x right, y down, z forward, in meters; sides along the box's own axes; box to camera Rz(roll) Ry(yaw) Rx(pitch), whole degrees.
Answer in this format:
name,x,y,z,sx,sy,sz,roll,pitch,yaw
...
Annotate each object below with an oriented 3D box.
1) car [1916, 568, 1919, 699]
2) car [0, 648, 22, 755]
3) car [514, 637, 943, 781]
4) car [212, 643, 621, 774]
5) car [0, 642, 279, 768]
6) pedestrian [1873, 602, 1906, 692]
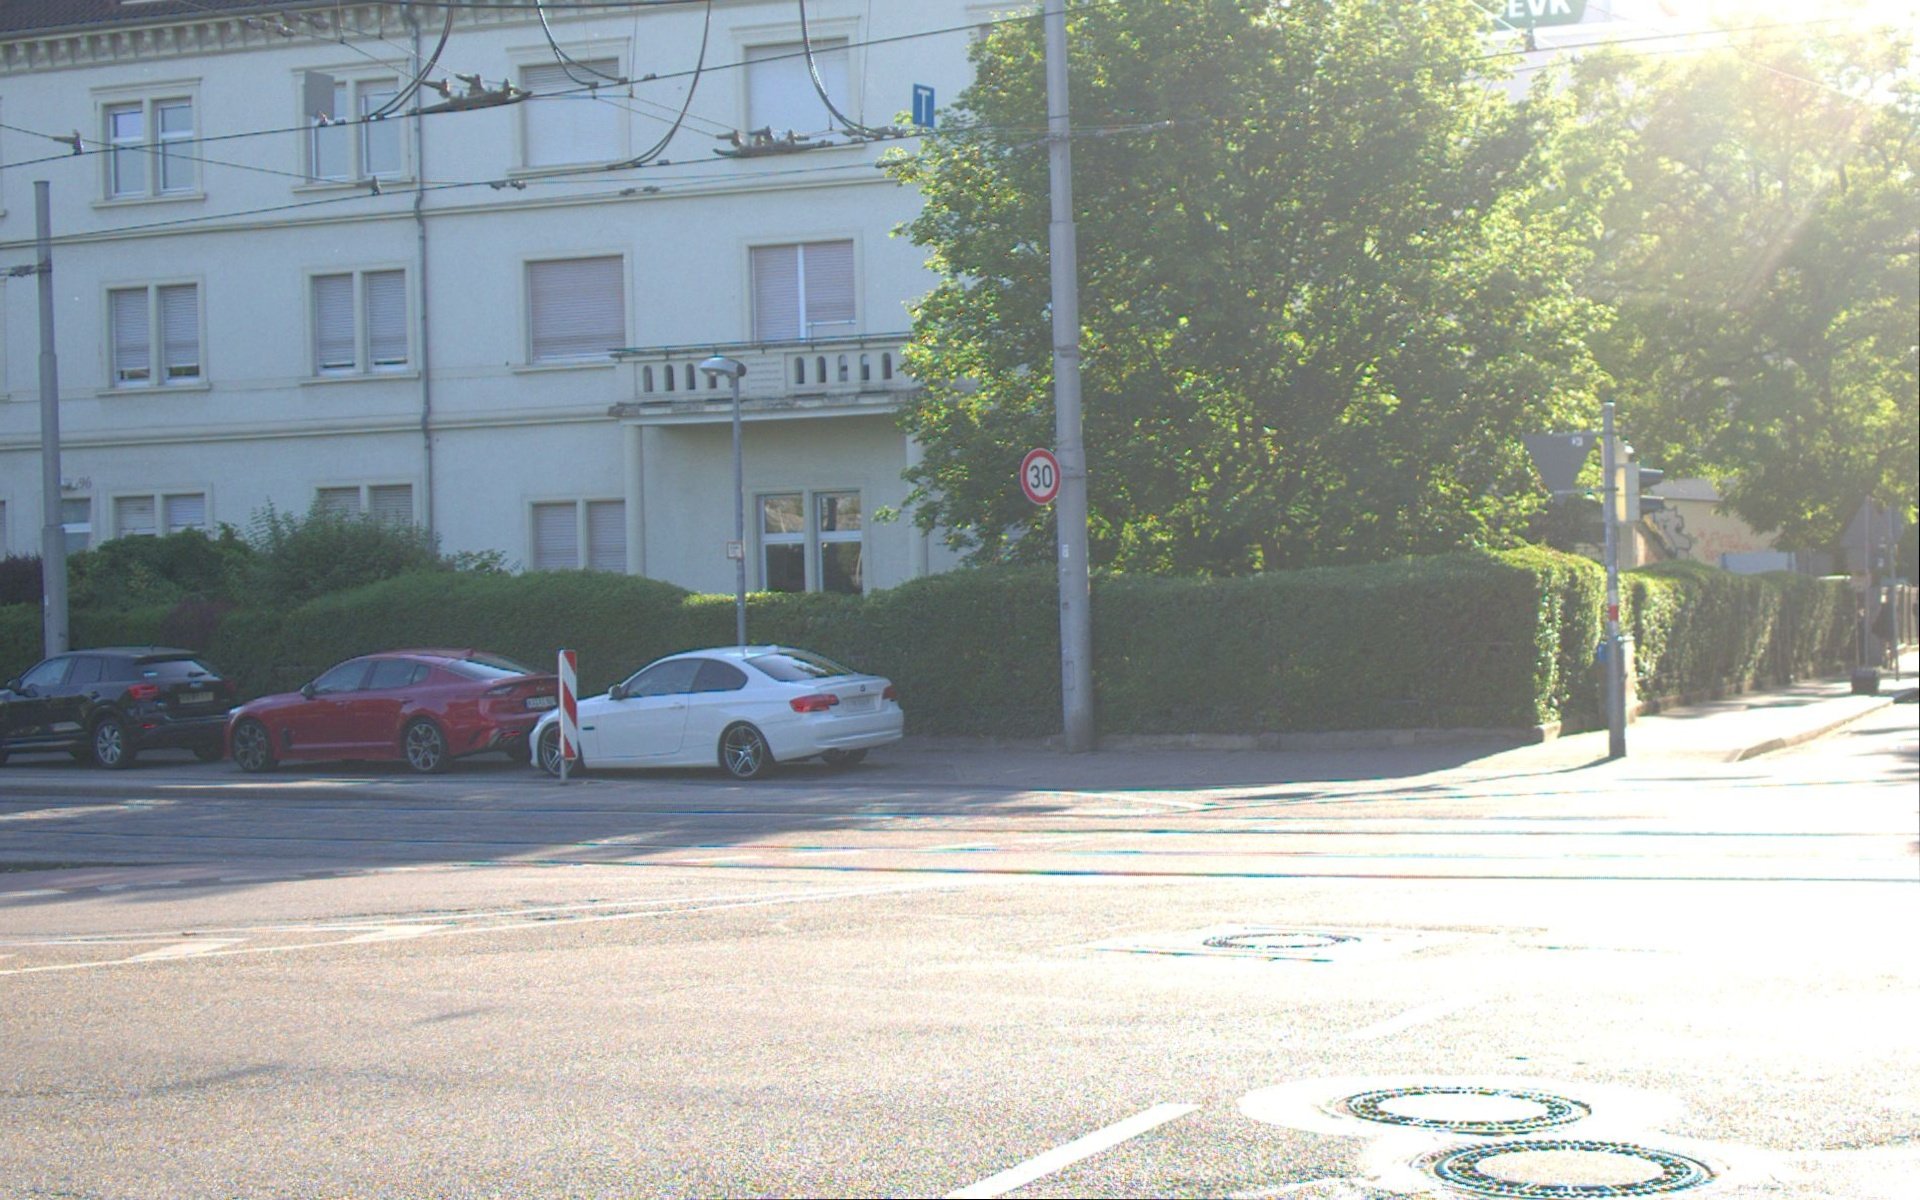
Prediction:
name,x,y,z,sx,sy,sz,roll,pitch,yaw
car,16.559,0.484,54.811,2.356,2.007,5.305,-1,0,17
car,-14.927,1.458,47.473,3.715,1.442,1.983,-1,2,40
car,-2.567,1.180,37.614,4.492,1.372,1.926,-1,2,38
car,-6.514,1.291,41.009,4.699,1.372,1.983,-2,2,35
car,-11.205,1.354,44.802,4.701,1.442,1.983,-1,2,40
pedestrian,18.057,0.916,66.782,0.579,1.725,0.608,-1,-1,14
